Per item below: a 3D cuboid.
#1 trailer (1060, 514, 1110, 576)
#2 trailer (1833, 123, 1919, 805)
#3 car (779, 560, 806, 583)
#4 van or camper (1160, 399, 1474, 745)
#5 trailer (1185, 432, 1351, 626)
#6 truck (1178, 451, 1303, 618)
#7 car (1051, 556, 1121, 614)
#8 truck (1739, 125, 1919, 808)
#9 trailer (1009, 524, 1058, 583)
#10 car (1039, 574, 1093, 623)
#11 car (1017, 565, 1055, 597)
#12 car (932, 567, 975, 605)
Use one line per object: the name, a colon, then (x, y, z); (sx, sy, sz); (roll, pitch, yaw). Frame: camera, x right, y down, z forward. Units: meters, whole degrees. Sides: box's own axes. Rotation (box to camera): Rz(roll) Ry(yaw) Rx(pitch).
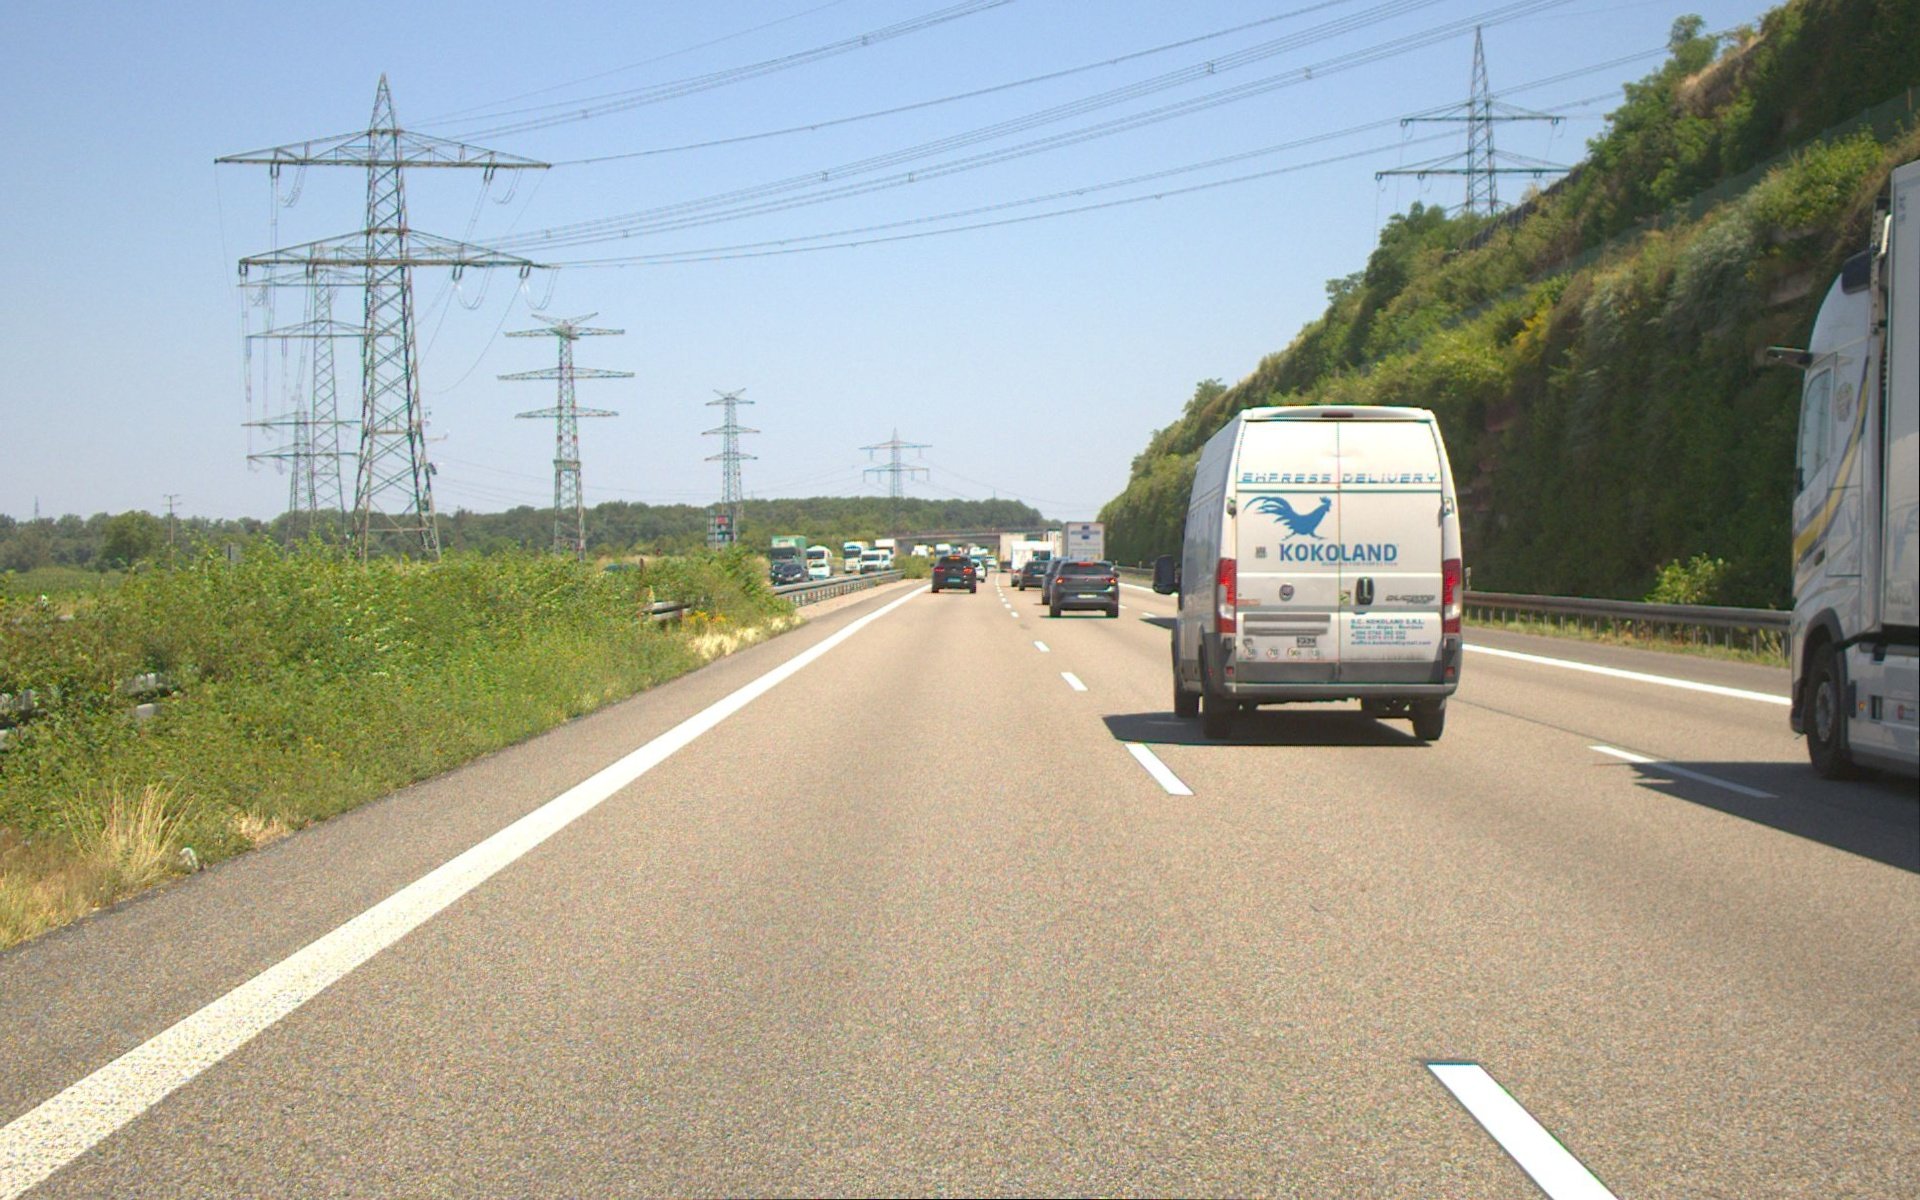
trailer: (8.651, -3.781, 238.623); (3.183, 4.107, 13.431); (-1, 1, 1)
trailer: (7.175, -0.737, 14.683); (2.514, 4.197, 17.028); (0, 1, 0)
car: (-11.254, -1.932, 231.190); (1.617, 1.455, 4.284); (-3, 1, -1)
van or camper: (3.045, -0.267, 30.820); (2.096, 2.759, 6.757); (0, 1, 0)
trailer: (6.808, -1.550, 77.801); (2.645, 3.991, 13.606); (0, 1, 1)
truck: (6.898, -1.601, 85.206); (2.618, 3.979, 6.526); (0, 1, 1)
car: (3.364, -0.417, 92.564); (1.749, 1.520, 3.995); (0, 1, 0)
truck: (7.164, -0.822, 22.820); (2.507, 4.205, 6.256); (1, 0, 0)
trailer: (4.097, -2.592, 192.946); (2.610, 3.202, 9.953); (-1, 1, 0)
car: (3.646, -0.065, 118.395); (1.794, 1.647, 4.138); (0, 1, 1)
car: (3.732, -0.926, 169.075); (1.830, 1.520, 4.000); (-1, 1, 2)
car: (-0.273, -0.656, 154.335); (1.830, 1.665, 4.000); (-1, 1, 1)
